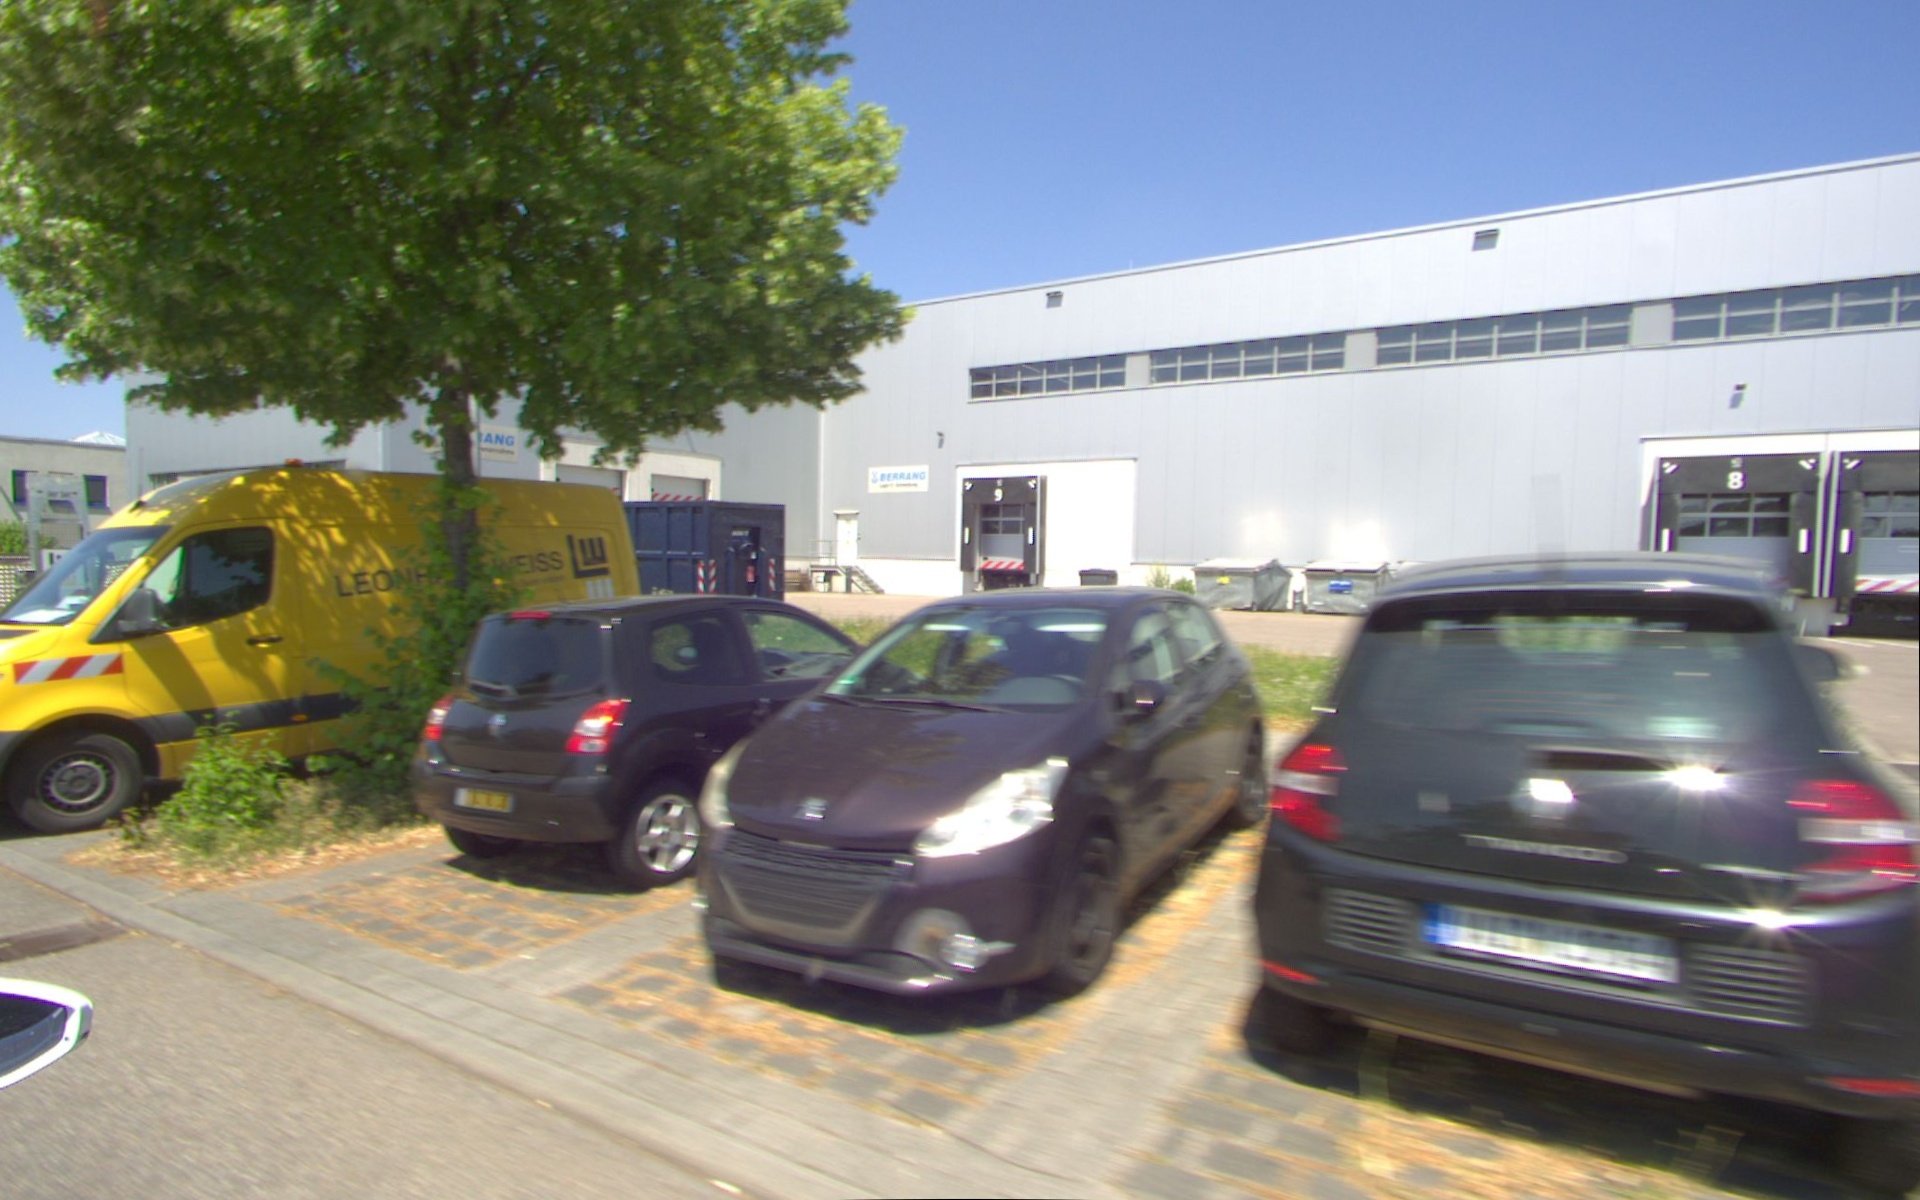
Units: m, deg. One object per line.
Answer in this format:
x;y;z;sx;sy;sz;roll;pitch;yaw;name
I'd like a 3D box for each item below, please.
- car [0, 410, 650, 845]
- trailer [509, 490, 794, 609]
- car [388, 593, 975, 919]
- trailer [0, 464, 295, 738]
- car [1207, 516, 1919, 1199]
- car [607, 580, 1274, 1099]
-5.735;0.016;8.742;1.972;2.772;5.759;2;5;34;car
-7.659;-1.292;24.383;7.309;2.454;2.652;5;2;35;trailer
-1.489;0.702;6.555;1.604;1.498;3.595;1;1;31;car
-11.637;-0.050;13.089;5.436;2.897;2.651;1;3;30;trailer
2.369;0.505;3.970;1.604;1.483;3.650;0;2;33;car
0.308;0.686;4.960;1.567;1.527;3.764;1;1;31;car
